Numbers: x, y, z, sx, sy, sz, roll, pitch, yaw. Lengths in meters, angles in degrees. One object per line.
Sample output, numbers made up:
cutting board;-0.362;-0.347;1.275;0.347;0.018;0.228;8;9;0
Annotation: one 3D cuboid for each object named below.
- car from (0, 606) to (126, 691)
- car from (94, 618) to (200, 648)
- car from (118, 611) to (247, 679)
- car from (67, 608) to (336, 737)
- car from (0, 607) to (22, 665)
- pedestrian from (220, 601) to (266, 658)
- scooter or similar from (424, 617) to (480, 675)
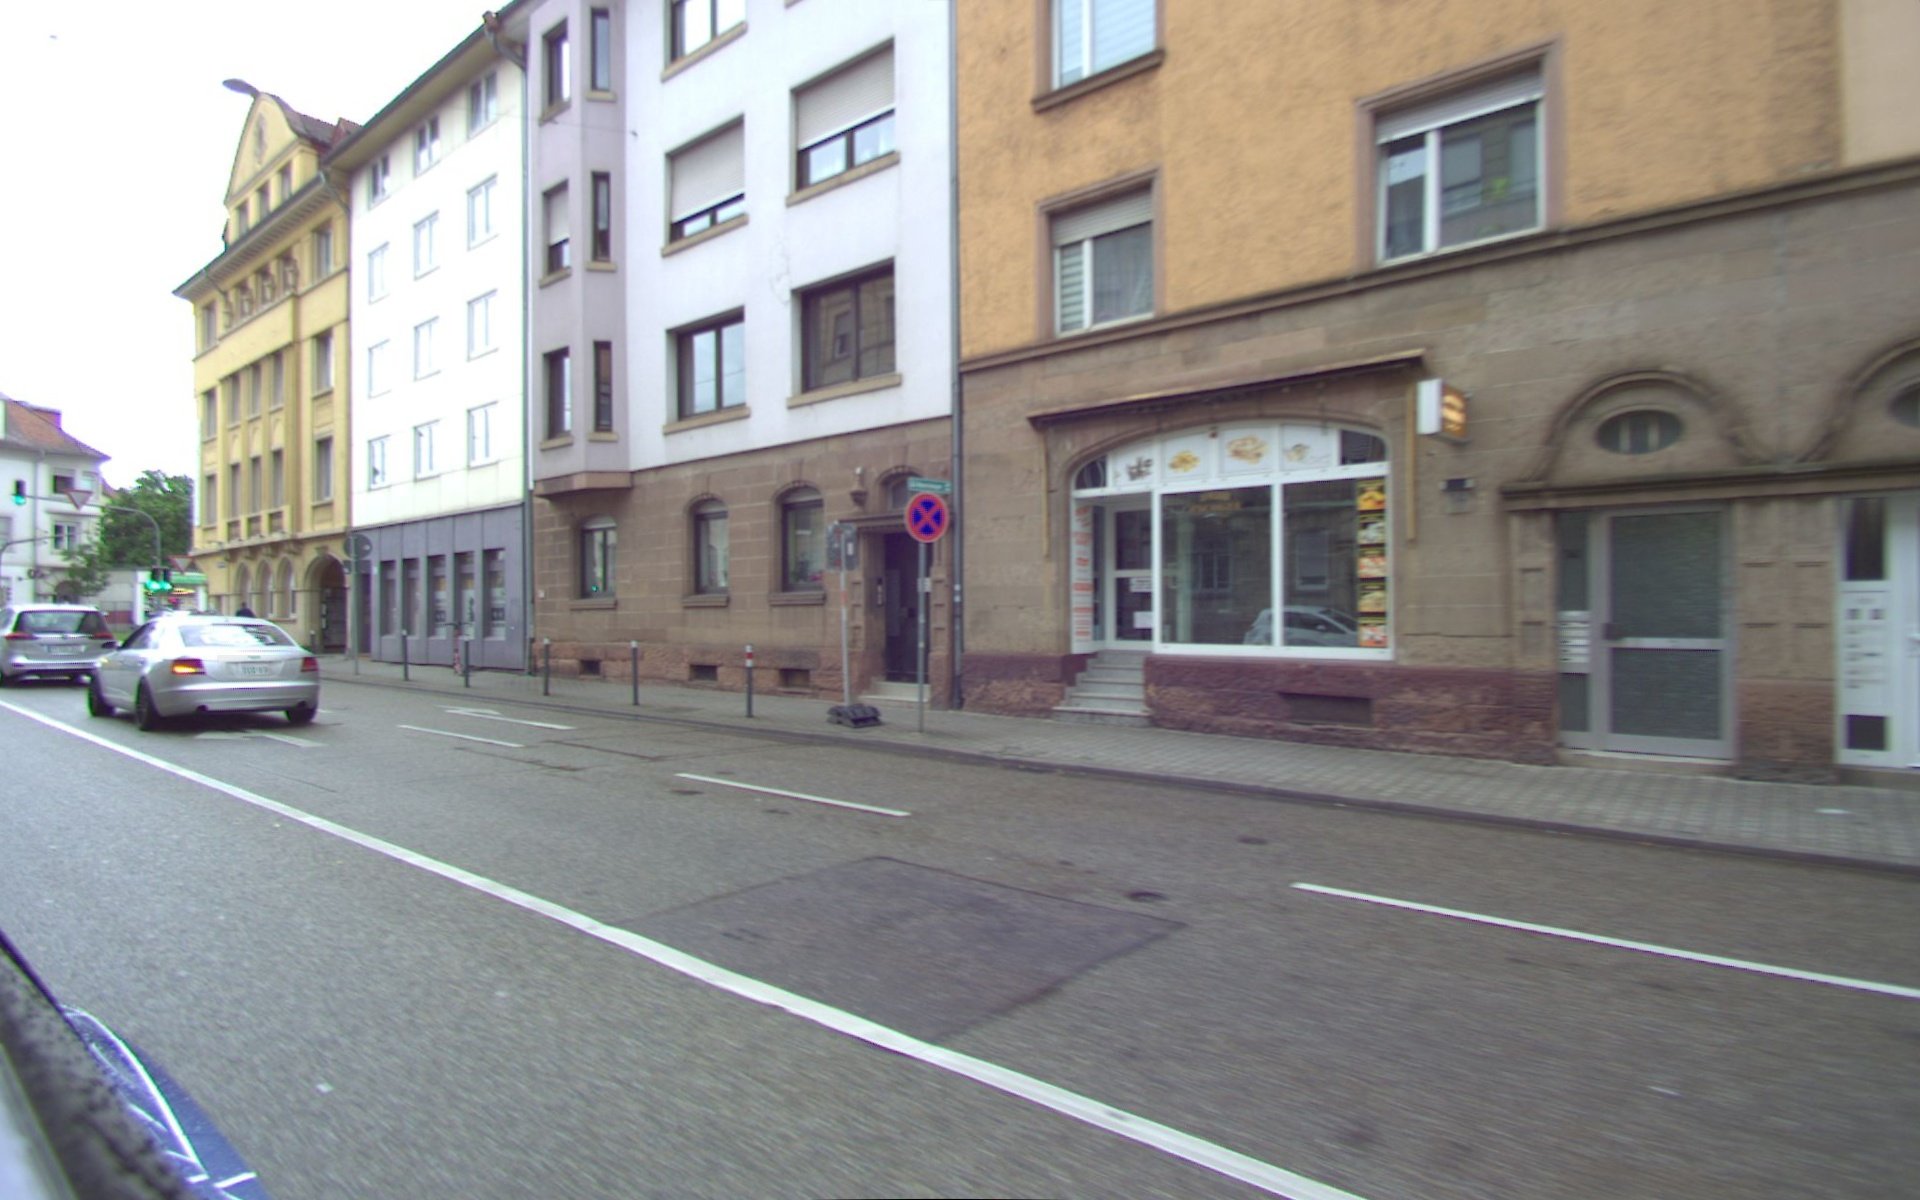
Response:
car;-19.252;0.935;21.193;4.517;1.595;1.923;0;-1;40
car;-43.649;1.735;54.423;2.010;1.529;4.010;0;-1;21
car;-20.424;1.106;26.513;4.337;1.607;1.959;0;-1;43
car;-10.528;0.862;13.927;4.555;1.481;1.923;0;-1;39
car;-28.376;0.986;28.733;4.600;1.595;1.923;0;-1;39
pedestrian;-23.513;0.956;33.178;1.031;1.784;0.885;0;3;38
scooter or similar;-11.415;1.019;22.728;1.577;1.222;0.456;0;3;39
